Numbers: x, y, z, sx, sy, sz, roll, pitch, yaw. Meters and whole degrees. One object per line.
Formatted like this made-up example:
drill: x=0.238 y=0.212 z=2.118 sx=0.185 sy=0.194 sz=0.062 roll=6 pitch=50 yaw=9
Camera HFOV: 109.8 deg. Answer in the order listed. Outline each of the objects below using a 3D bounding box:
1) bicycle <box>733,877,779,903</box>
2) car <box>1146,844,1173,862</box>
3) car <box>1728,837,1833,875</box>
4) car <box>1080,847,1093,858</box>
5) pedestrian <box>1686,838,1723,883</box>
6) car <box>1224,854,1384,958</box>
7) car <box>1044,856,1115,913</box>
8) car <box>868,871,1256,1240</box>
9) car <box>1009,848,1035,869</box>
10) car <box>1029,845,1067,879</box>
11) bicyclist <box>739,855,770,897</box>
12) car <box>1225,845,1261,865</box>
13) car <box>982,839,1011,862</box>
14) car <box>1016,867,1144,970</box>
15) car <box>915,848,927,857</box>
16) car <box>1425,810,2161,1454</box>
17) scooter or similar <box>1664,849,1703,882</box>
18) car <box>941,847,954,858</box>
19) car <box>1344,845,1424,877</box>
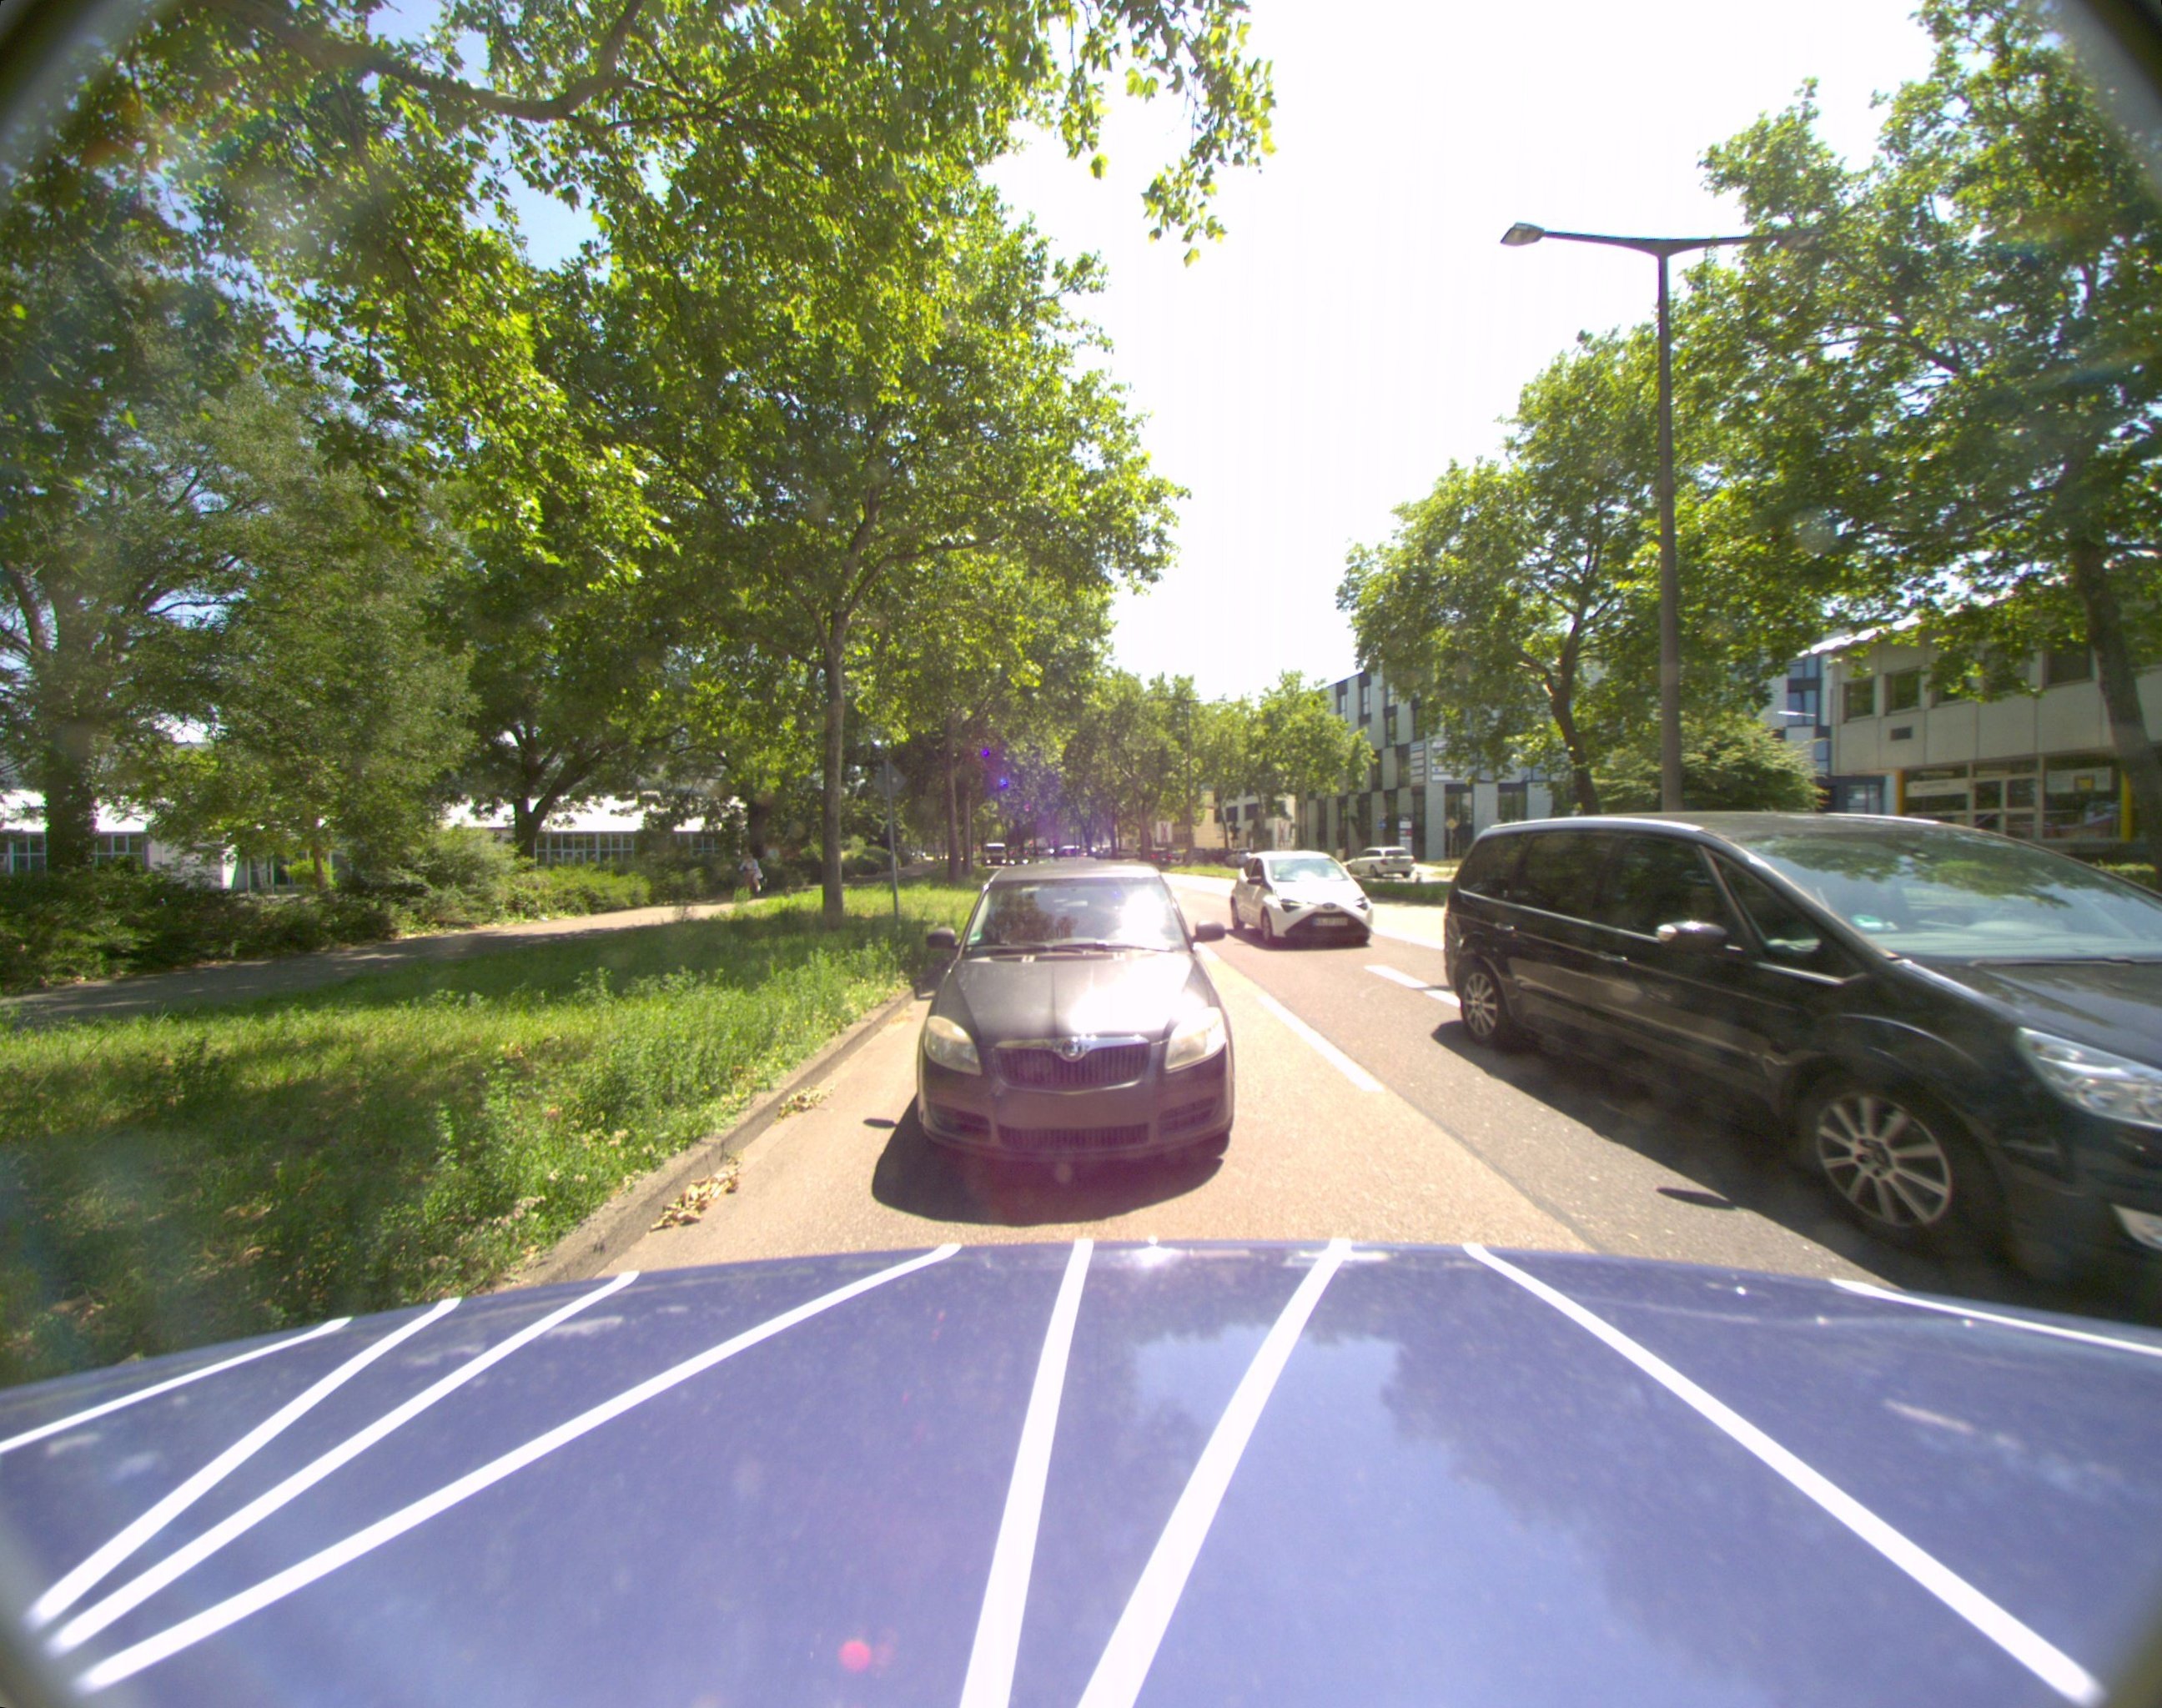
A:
bicycle: x=-10.419 y=1.138 z=24.430 sx=0.464 sy=0.760 sz=1.670 roll=0 pitch=1 yaw=12
car: x=7.424 y=-0.132 z=72.021 sx=1.954 sy=1.646 sz=4.619 roll=-1 pitch=1 yaw=-2
car: x=32.762 y=0.050 z=35.725 sx=1.819 sy=1.638 sz=3.528 roll=-2 pitch=1 yaw=4
car: x=0.732 y=-0.243 z=103.455 sx=1.537 sy=1.519 sz=2.852 roll=-1 pitch=1 yaw=-7
pedestrian: x=21.870 y=0.225 z=26.661 sx=0.643 sy=1.551 sz=0.790 roll=-1 pitch=1 yaw=-6
car: x=3.629 y=0.763 z=13.014 sx=1.623 sy=1.437 sz=3.651 roll=-2 pitch=1 yaw=0
car: x=-0.027 y=0.835 z=22.330 sx=1.878 sy=1.448 sz=3.785 roll=-2 pitch=1 yaw=1
car: x=-0.058 y=0.926 z=5.238 sx=1.654 sy=1.454 sz=3.864 roll=-1 pitch=1 yaw=1
car: x=-5.176 y=0.352 z=66.704 sx=2.000 sy=1.783 sz=3.997 roll=-1 pitch=1 yaw=-8
car: x=-1.988 y=0.450 z=44.631 sx=1.999 sy=1.871 sz=3.998 roll=-1 pitch=0 yaw=-5
bicyclist: x=-10.491 y=0.707 z=24.433 sx=0.600 sy=1.331 sz=0.667 roll=-1 pitch=1 yaw=13
car: x=12.657 y=0.067 z=59.502 sx=1.737 sy=1.451 sz=3.672 roll=-1 pitch=1 yaw=-5
car: x=-10.117 y=-0.385 z=90.452 sx=2.921 sy=2.639 sz=6.359 roll=-1 pitch=1 yaw=-11
car: x=0.007 y=0.946 z=12.664 sx=1.791 sy=1.325 sz=3.742 roll=-2 pitch=1 yaw=1
car: x=-35.075 y=-0.311 z=166.359 sx=2.002 sy=1.827 sz=3.992 roll=-1 pitch=1 yaw=-22
car: x=3.842 y=0.717 z=4.089 sx=1.859 sy=1.745 sz=4.648 roll=-1 pitch=1 yaw=0
scooter or similar: x=21.791 y=0.412 z=27.498 sx=0.680 sy=1.157 sz=0.859 roll=-1 pitch=1 yaw=-5
car: x=-23.195 y=-0.216 z=132.098 sx=2.001 sy=1.827 sz=3.994 roll=-1 pitch=1 yaw=-14
car: x=14.510 y=0.291 z=36.679 sx=1.858 sy=1.410 sz=4.545 roll=-1 pitch=0 yaw=-3
